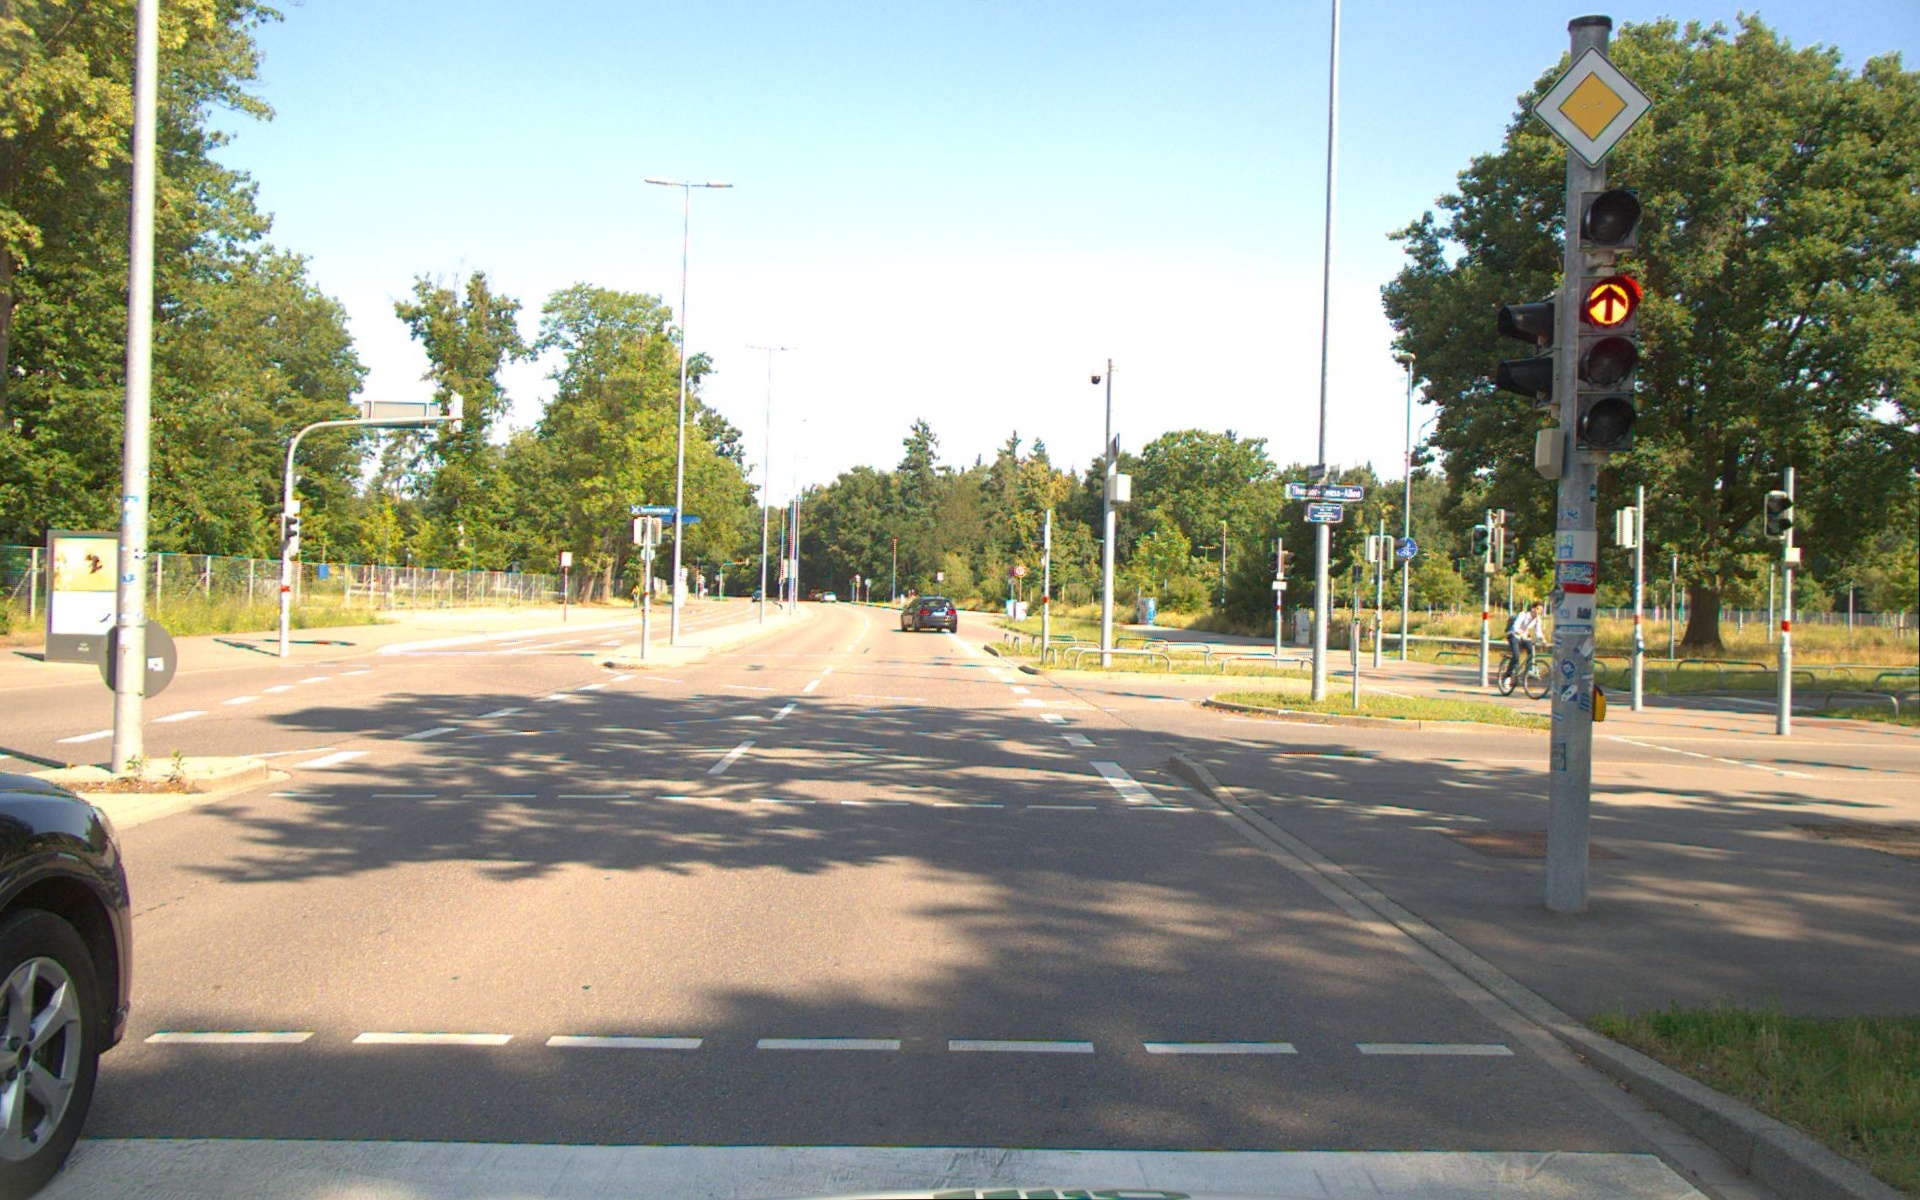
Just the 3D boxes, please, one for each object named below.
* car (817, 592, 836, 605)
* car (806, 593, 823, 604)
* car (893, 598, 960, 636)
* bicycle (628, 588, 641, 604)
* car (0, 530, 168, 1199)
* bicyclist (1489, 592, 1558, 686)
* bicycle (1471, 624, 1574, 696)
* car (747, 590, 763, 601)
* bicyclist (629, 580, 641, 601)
[{"bbox_3d":[-18.205,-0.188,224.664,1.959,1.780,3.986,1,0,-14],"label":"car"},{"bbox_3d":[-21.338,-0.209,242.361,1.958,1.624,3.989,1,0,-12],"label":"car"},{"bbox_3d":[-1.398,0.663,67.904,1.907,1.445,4.278,1,0,-13],"label":"car"},{"bbox_3d":[-23.687,-0.308,120.332,0.647,1.155,1.876,3,0,-6],"label":"bicycle"},{"bbox_3d":[-2.958,0.632,2.409,1.653,1.571,4.148,0,0,-1],"label":"car"},{"bbox_3d":[10.315,0.706,30.294,0.712,1.667,1.053,1,0,-17],"label":"bicyclist"},{"bbox_3d":[10.282,1.082,30.321,0.712,1.220,2.091,1,0,-16],"label":"bicycle"},{"bbox_3d":[-28.239,-0.596,228.114,1.780,1.412,4.147,-1,0,-13],"label":"car"},{"bbox_3d":[-23.656,-0.668,120.397,0.647,1.493,1.056,3,0,-6],"label":"bicyclist"}]
